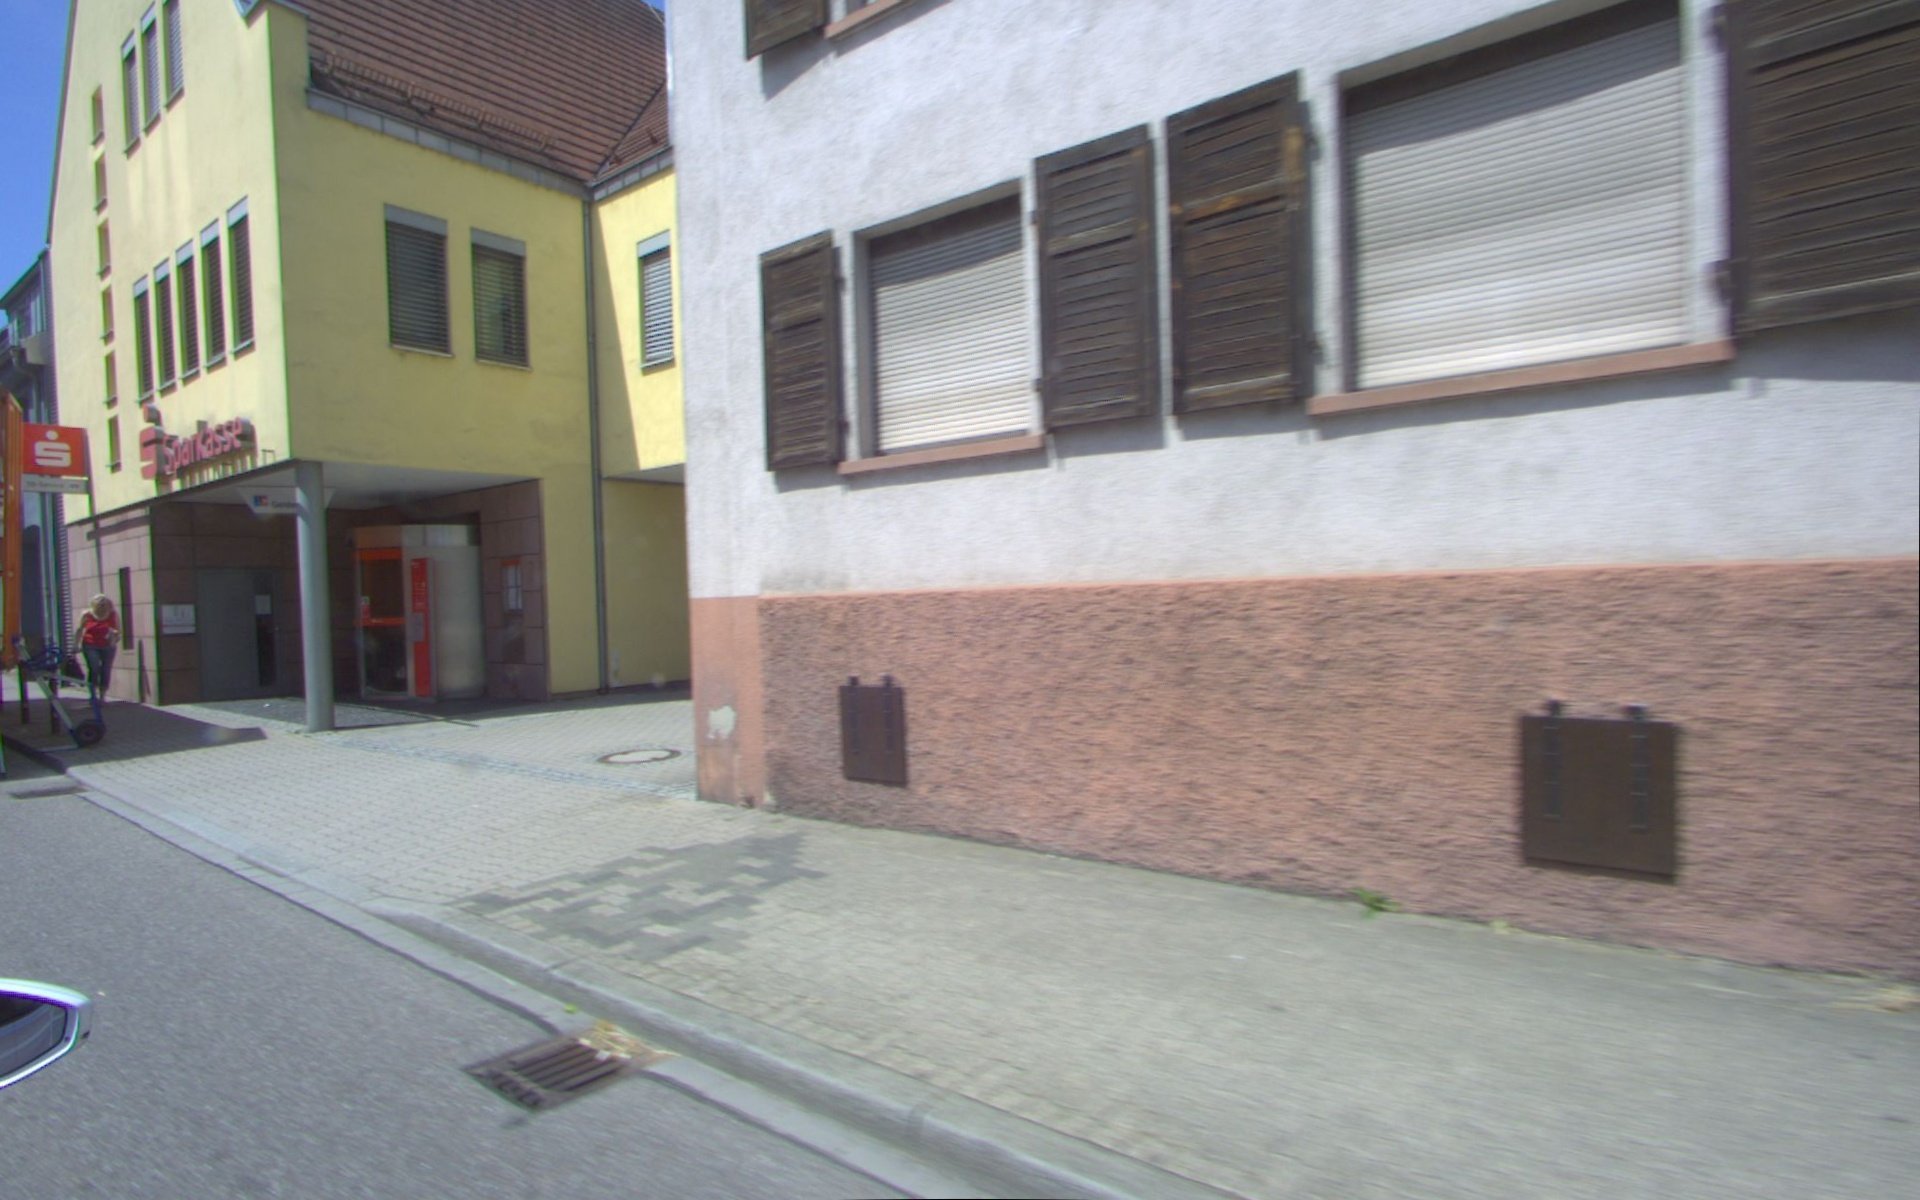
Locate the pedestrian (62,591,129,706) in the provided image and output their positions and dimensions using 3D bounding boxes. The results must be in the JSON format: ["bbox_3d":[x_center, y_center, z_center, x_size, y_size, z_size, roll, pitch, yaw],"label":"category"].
[{"bbox_3d":[-13.084,0.726,15.156,0.643,1.674,0.685,-1,-2,41],"label":"pedestrian"}]

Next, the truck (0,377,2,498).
[{"bbox_3d":[-14.187,-0.305,12.307,9.875,3.997,2.596,1,0,41],"label":"truck"}]
